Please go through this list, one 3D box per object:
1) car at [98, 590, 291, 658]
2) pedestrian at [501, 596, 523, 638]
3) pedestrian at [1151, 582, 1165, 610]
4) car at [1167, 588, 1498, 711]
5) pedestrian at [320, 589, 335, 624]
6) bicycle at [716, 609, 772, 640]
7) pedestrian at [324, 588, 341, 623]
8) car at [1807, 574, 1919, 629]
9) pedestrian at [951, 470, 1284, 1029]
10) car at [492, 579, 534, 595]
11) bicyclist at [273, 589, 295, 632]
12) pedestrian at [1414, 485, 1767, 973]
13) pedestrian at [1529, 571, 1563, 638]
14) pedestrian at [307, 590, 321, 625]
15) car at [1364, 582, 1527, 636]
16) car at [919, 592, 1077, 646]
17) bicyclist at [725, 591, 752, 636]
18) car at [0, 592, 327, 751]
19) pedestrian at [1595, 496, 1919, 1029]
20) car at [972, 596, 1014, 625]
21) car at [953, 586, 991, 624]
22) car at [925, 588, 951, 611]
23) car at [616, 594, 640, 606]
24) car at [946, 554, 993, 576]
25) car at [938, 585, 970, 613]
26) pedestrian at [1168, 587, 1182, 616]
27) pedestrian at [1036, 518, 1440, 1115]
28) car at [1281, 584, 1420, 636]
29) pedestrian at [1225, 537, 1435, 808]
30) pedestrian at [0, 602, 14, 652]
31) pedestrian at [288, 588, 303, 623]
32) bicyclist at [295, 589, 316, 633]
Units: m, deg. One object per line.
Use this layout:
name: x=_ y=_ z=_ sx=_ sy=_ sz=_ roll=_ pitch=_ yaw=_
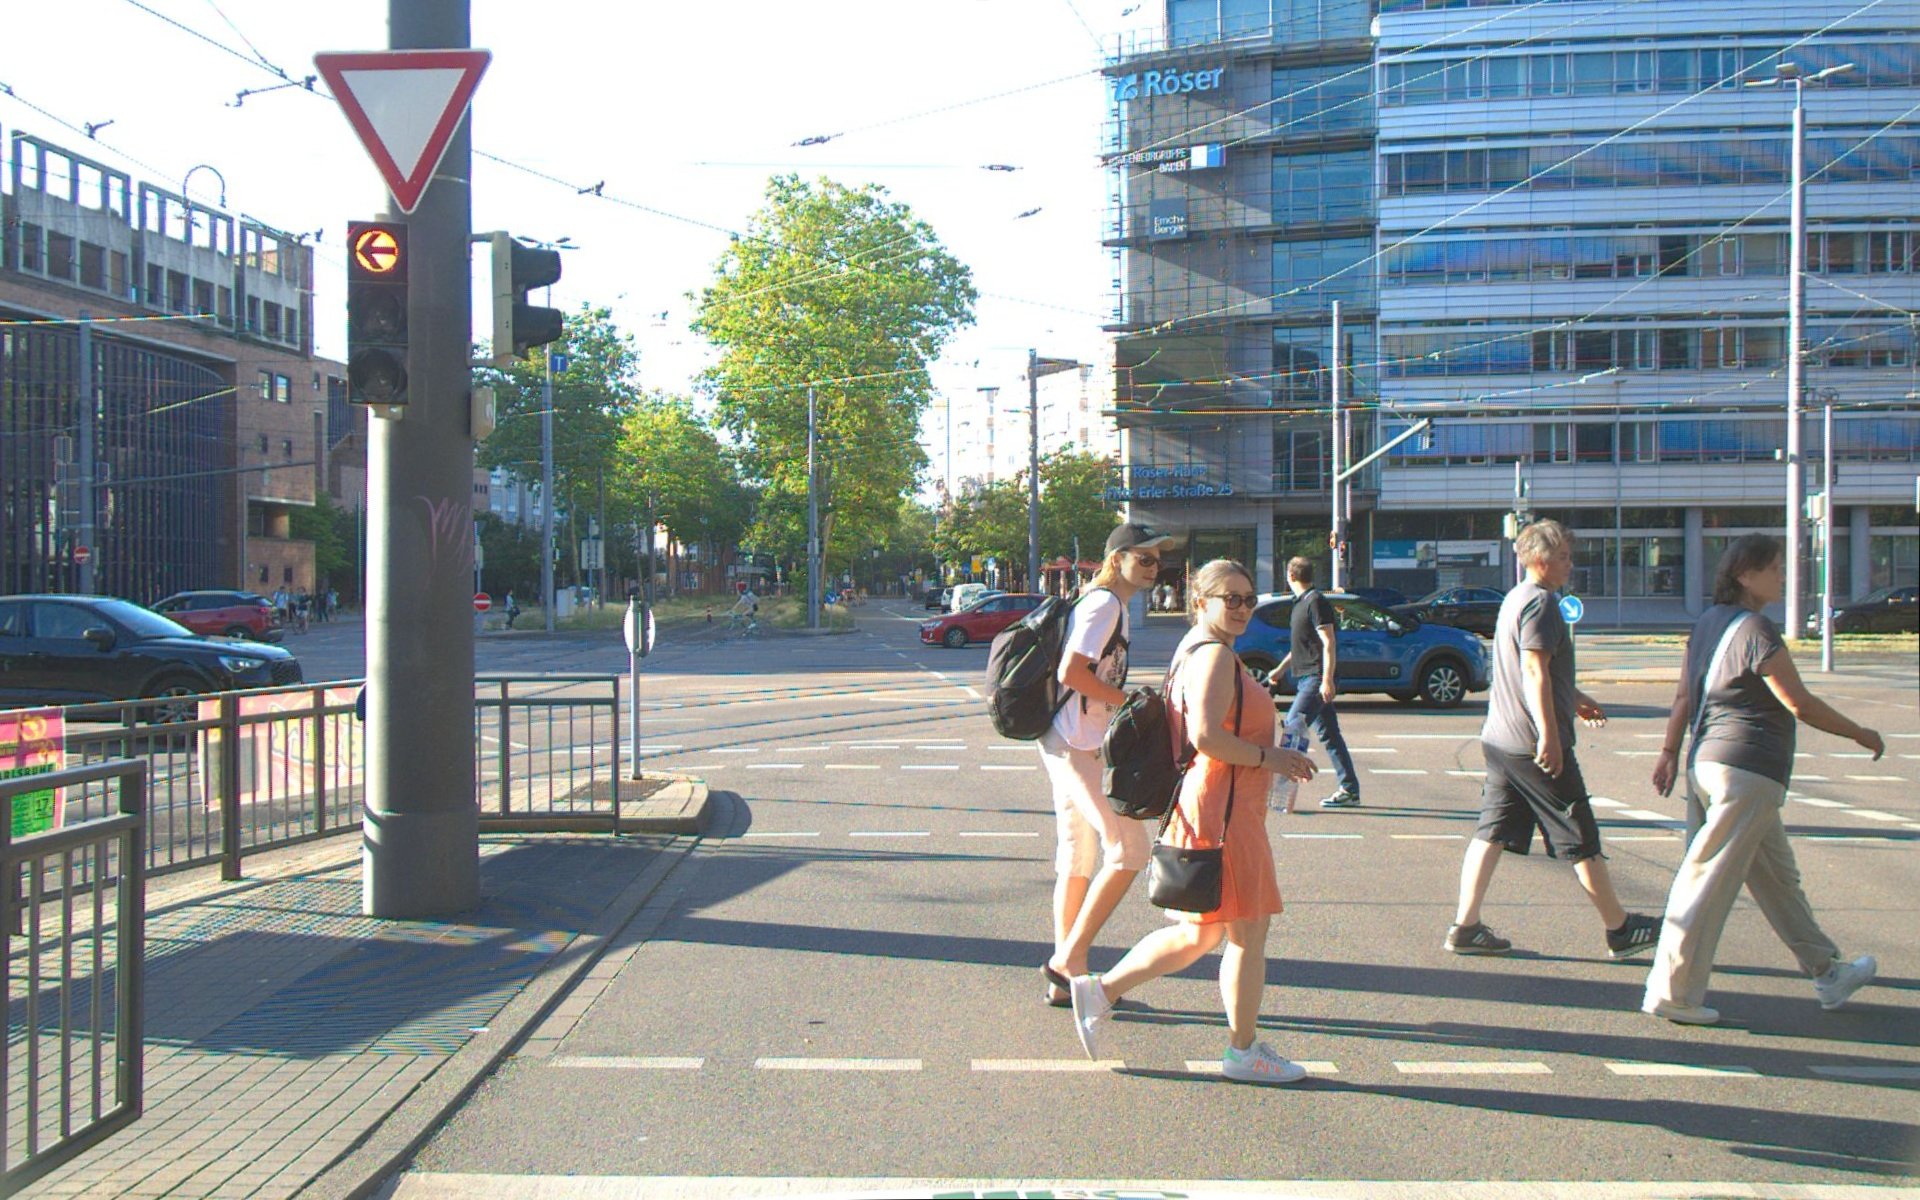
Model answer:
car: x=-19.630 y=0.593 z=42.590 sx=4.165 sy=1.630 sz=1.790 roll=-1 pitch=0 yaw=-12
pedestrian: x=-17.007 y=0.646 z=62.764 sx=0.740 sy=1.557 sz=0.507 roll=1 pitch=0 yaw=-8
pedestrian: x=10.562 y=-0.224 z=88.319 sx=0.723 sy=1.491 sz=0.537 roll=-1 pitch=0 yaw=8
car: x=4.857 y=0.615 z=21.941 sx=3.876 sy=1.482 sz=1.998 roll=-1 pitch=0 yaw=-4
pedestrian: x=-32.942 y=0.319 z=86.180 sx=0.511 sy=1.810 sz=0.546 roll=-1 pitch=0 yaw=6
bicycle: x=-6.759 y=0.762 z=51.818 sx=1.708 sy=0.915 sz=0.408 roll=-1 pitch=0 yaw=-6
pedestrian: x=-33.173 y=0.290 z=87.391 sx=0.627 sy=1.842 sz=0.546 roll=-1 pitch=0 yaw=6
car: x=25.429 y=0.024 z=44.683 sx=4.151 sy=1.417 sz=1.796 roll=-1 pitch=0 yaw=4
pedestrian: x=0.552 y=0.520 z=6.081 sx=1.053 sy=1.904 sz=0.737 roll=1 pitch=-1 yaw=-8
car: x=-46.521 y=-1.373 z=172.237 sx=3.948 sy=1.579 sz=1.589 roll=1 pitch=0 yaw=-32
bicyclist: x=-26.777 y=0.414 z=65.523 sx=0.582 sy=1.705 sz=0.788 roll=-1 pitch=0 yaw=-7
pedestrian: x=2.645 y=0.522 z=7.031 sx=1.123 sy=1.927 sz=0.831 roll=1 pitch=-1 yaw=-8
pedestrian: x=15.275 y=0.111 z=43.103 sx=0.704 sy=1.711 sz=0.557 roll=1 pitch=0 yaw=6
pedestrian: x=-34.152 y=0.369 z=87.480 sx=0.479 sy=1.842 sz=0.546 roll=-1 pitch=0 yaw=6
car: x=13.961 y=0.233 z=47.649 sx=4.164 sy=1.459 sz=1.791 roll=-1 pitch=0 yaw=-11
car: x=1.017 y=0.509 z=45.971 sx=4.161 sy=1.417 sz=1.792 roll=-1 pitch=0 yaw=-8
bicyclist: x=-6.929 y=0.424 z=51.798 sx=0.803 sy=1.390 sz=0.400 roll=-1 pitch=0 yaw=-6
car: x=-9.383 y=0.727 z=17.868 sx=4.393 sy=1.611 sz=1.824 roll=0 pitch=0 yaw=-4
pedestrian: x=3.061 y=0.570 z=6.154 sx=1.051 sy=1.837 sz=0.756 roll=1 pitch=-1 yaw=-8
car: x=1.638 y=0.511 z=83.193 sx=1.953 sy=1.355 sz=3.999 roll=-1 pitch=0 yaw=-1
car: x=0.646 y=0.256 z=90.017 sx=1.953 sy=2.026 sz=3.999 roll=-1 pitch=0 yaw=-1
car: x=-1.673 y=-0.062 z=127.014 sx=1.953 sy=1.691 sz=3.999 roll=-1 pitch=0 yaw=-1
car: x=-43.564 y=0.023 z=216.902 sx=1.951 sy=1.534 sz=4.003 roll=-1 pitch=0 yaw=7
car: x=0.793 y=-2.984 z=141.594 sx=3.681 sy=1.780 sz=1.783 roll=1 pitch=0 yaw=14
car: x=-0.411 y=-0.079 z=105.316 sx=1.953 sy=1.691 sz=3.999 roll=-1 pitch=0 yaw=-1
pedestrian: x=11.447 y=0.075 z=88.117 sx=0.691 sy=1.491 sz=0.384 roll=-1 pitch=0 yaw=8
pedestrian: x=0.838 y=0.632 z=5.199 sx=1.052 sy=1.711 sz=0.756 roll=1 pitch=-1 yaw=-8
car: x=12.014 y=0.298 z=51.018 sx=3.787 sy=1.533 sz=1.793 roll=-1 pitch=0 yaw=-7
pedestrian: x=2.639 y=0.505 z=11.933 sx=1.185 sy=1.854 sz=1.040 roll=1 pitch=0 yaw=-6
pedestrian: x=-32.141 y=0.902 z=55.502 sx=0.528 sy=1.679 sz=0.622 roll=-1 pitch=0 yaw=-19
pedestrian: x=-34.618 y=0.288 z=86.151 sx=0.479 sy=1.842 sz=0.546 roll=-1 pitch=0 yaw=6
bicyclist: x=-26.034 y=0.430 z=65.790 sx=0.582 sy=1.705 sz=0.788 roll=-1 pitch=0 yaw=-7
